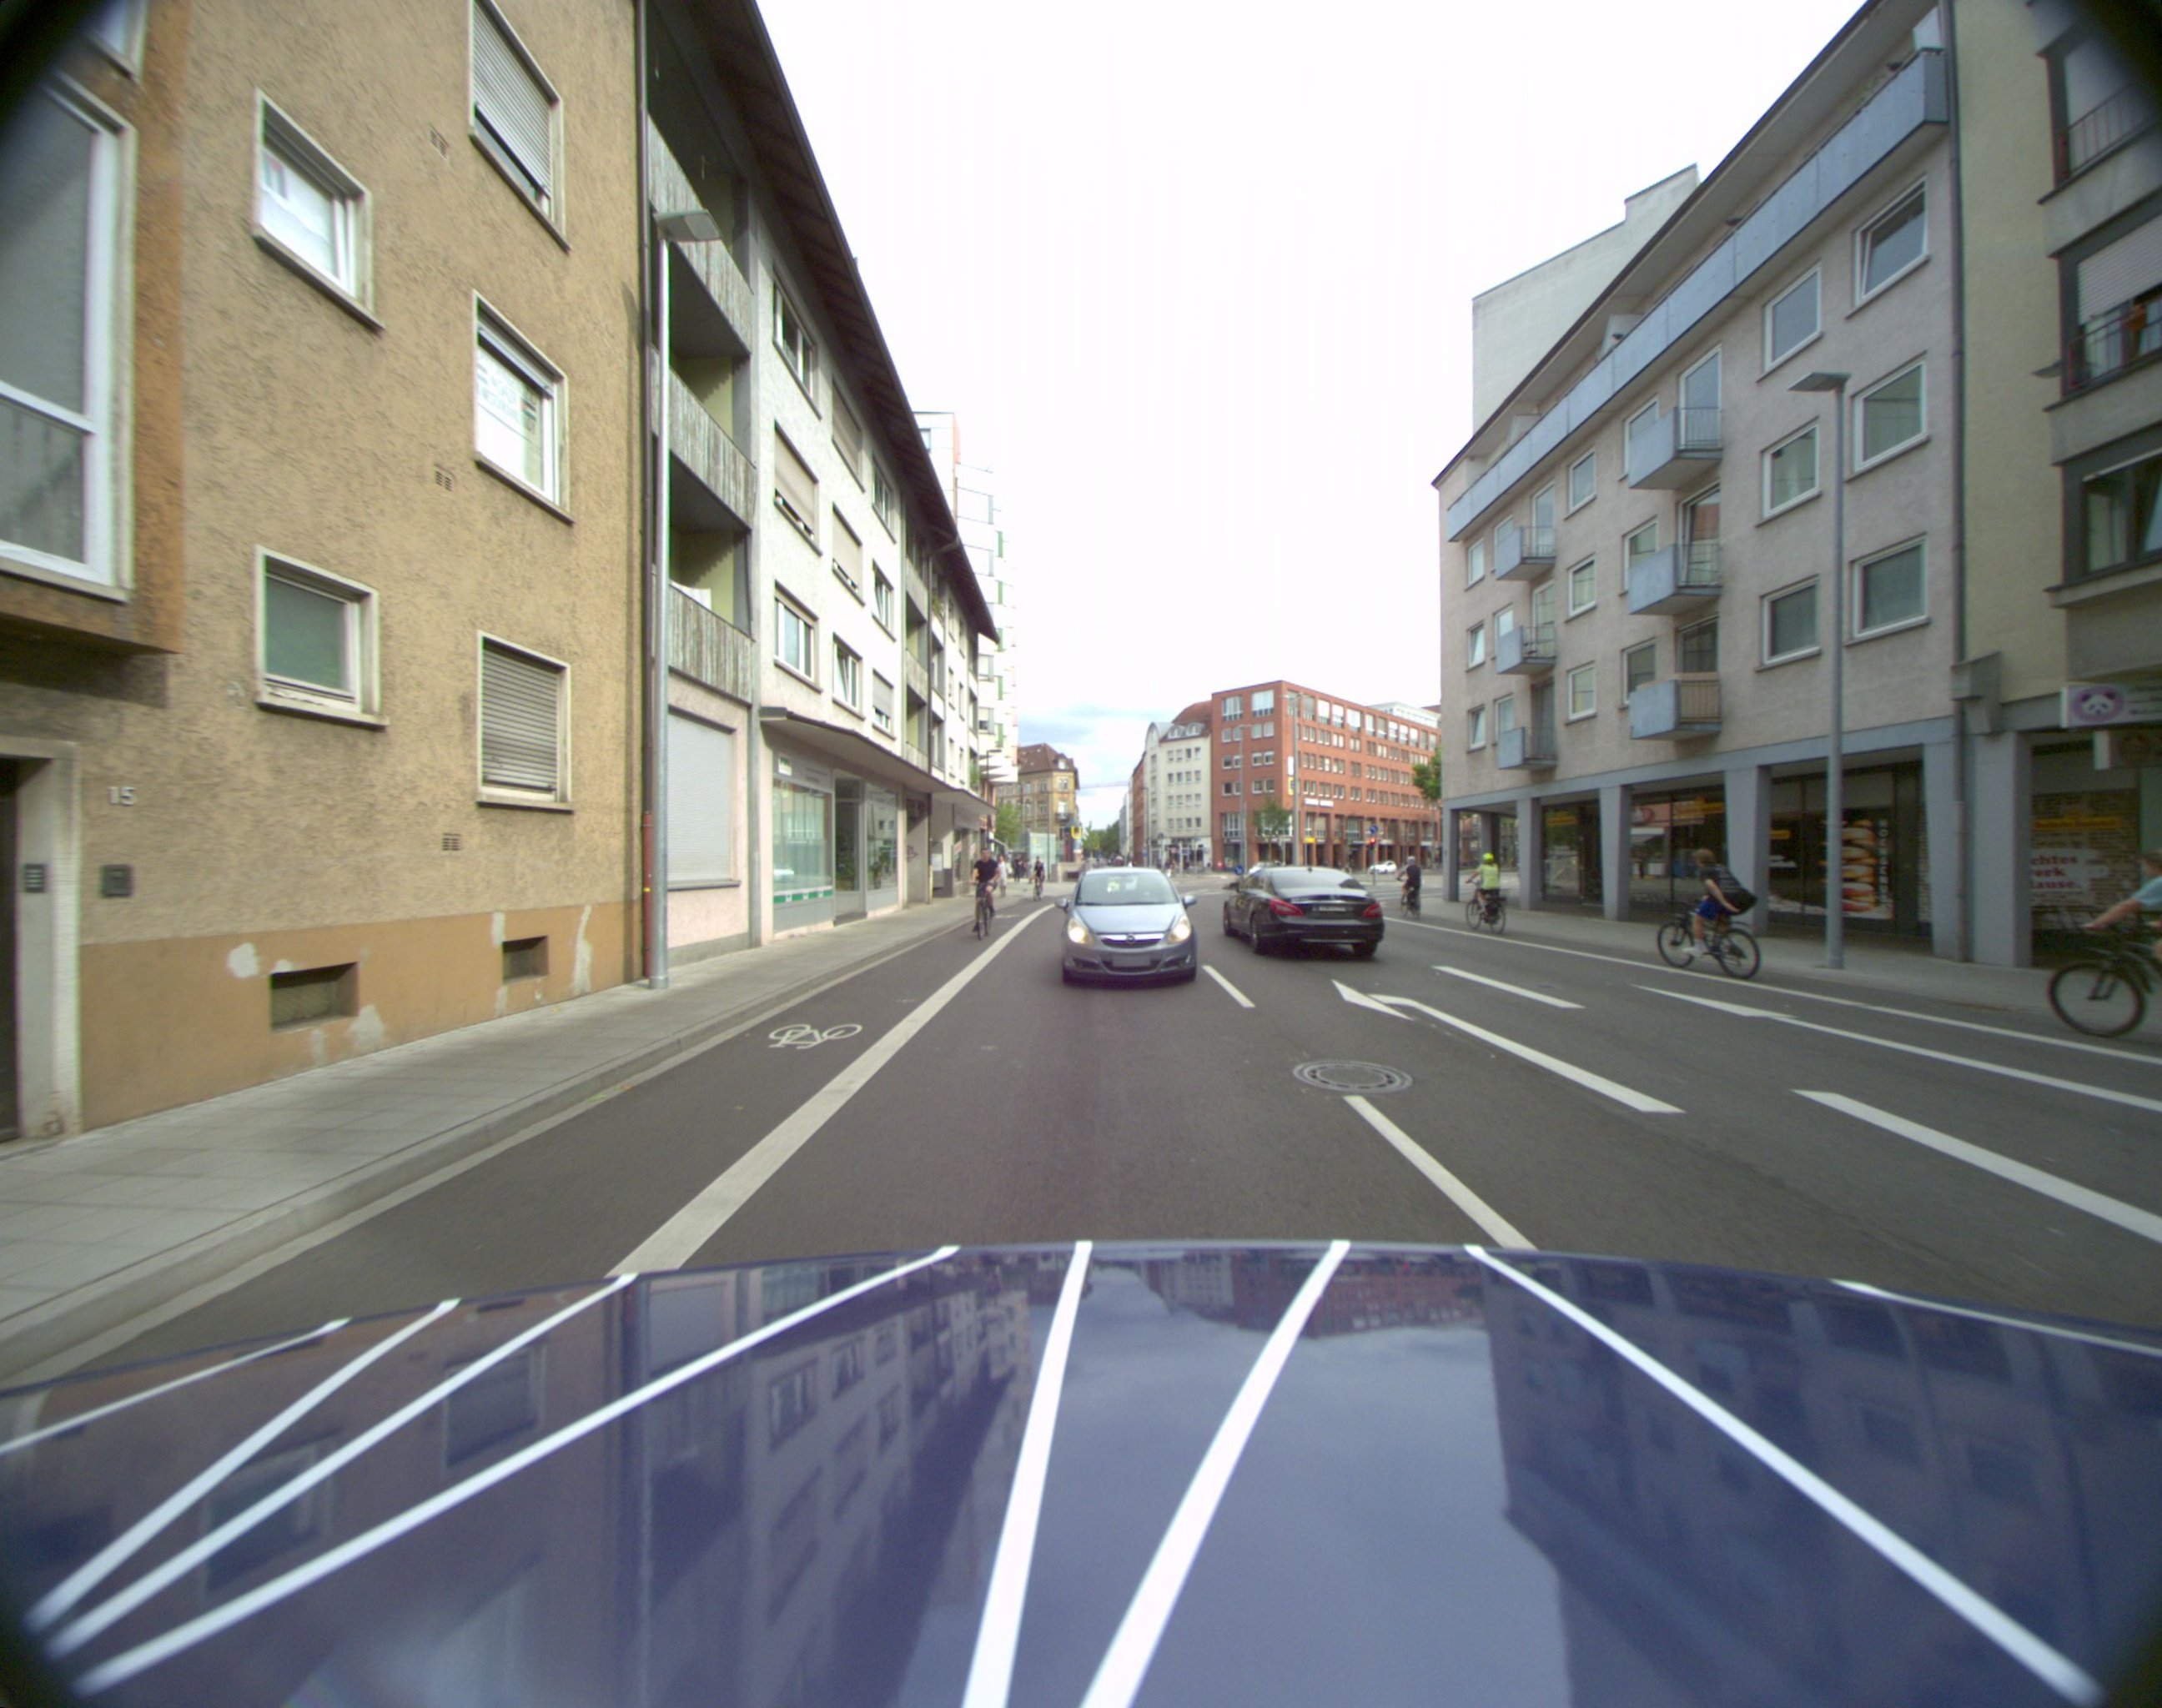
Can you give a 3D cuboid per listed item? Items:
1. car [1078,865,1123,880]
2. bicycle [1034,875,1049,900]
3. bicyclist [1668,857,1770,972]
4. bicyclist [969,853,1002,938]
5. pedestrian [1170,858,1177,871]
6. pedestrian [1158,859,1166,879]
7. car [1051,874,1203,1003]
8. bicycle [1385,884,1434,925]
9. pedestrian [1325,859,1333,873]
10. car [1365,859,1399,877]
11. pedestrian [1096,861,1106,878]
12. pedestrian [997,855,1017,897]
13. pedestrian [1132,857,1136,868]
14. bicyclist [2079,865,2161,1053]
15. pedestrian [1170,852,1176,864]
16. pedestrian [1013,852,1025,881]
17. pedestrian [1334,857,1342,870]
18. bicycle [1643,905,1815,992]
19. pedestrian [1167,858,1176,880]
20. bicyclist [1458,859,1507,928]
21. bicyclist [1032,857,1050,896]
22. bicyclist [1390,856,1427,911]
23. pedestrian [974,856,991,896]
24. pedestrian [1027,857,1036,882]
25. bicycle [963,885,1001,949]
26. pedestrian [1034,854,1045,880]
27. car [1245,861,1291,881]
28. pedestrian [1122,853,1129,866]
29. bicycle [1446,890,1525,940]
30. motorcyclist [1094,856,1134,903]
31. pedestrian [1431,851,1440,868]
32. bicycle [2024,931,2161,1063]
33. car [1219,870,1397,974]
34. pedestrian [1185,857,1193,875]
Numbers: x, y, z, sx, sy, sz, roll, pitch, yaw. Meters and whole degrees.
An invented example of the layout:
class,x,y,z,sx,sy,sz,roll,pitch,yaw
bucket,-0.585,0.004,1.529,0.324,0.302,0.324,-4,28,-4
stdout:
class,x,y,z,sx,sy,sz,roll,pitch,yaw
car,2.033,1.921,79.579,2.004,1.503,4.590,-2,1,-44
bicycle,-1.682,1.422,32.273,0.489,0.994,1.748,-1,-1,1
bicyclist,8.842,0.819,10.564,0.658,1.516,0.857,-2,-1,5
bicyclist,-1.948,0.831,15.593,0.560,1.699,0.862,0,0,0
pedestrian,11.842,1.387,96.895,0.707,1.638,0.721,0,-1,-7
pedestrian,7.351,1.376,69.035,0.675,1.789,0.887,2,0,7
car,0.609,1.010,10.672,1.723,1.394,4.001,0,0,2
bicycle,9.372,1.420,21.752,0.739,1.001,1.909,-1,2,5
pedestrian,29.325,1.450,89.786,0.601,1.677,0.639,0,0,-45
car,33.499,1.516,84.522,4.008,1.867,1.994,-1,0,-42
pedestrian,1.888,1.470,72.811,0.708,1.685,0.633,0,0,-45
pedestrian,-3.128,0.920,32.203,0.753,1.740,0.859,0,0,1
pedestrian,8.290,1.340,117.887,0.540,1.712,0.520,0,1,12
bicyclist,9.077,0.846,6.101,0.658,1.516,1.077,-2,-1,5
pedestrian,11.548,0.452,95.090,0.593,1.502,0.629,0,-1,-7
pedestrian,-4.127,0.842,50.980,0.673,1.892,0.590,2,0,1
pedestrian,32.078,1.170,94.776,0.645,1.686,0.699,1,2,43
bicycle,8.870,1.258,10.537,0.739,1.001,1.977,-2,-2,4
pedestrian,8.228,1.371,68.920,0.720,1.959,1.015,2,0,9
bicyclist,9.201,0.899,17.419,0.658,1.516,0.841,-2,-1,5
bicyclist,-1.692,0.947,32.249,0.613,1.593,0.847,-2,-1,1
bicyclist,9.395,0.839,21.850,0.658,1.516,1.002,-2,1,5
pedestrian,-4.202,0.927,32.334,0.606,1.659,0.944,0,0,-1
pedestrian,-3.289,1.054,50.812,0.473,1.663,0.590,2,0,2
bicycle,-1.976,1.231,15.359,0.407,1.115,2.017,-2,0,1
pedestrian,-3.062,0.968,56.074,0.657,1.841,0.971,3,1,4
car,15.759,1.371,64.048,4.008,1.592,1.953,0,0,-44
pedestrian,5.898,0.731,101.375,0.606,1.675,0.732,-4,1,-21
bicycle,9.136,1.359,17.279,0.739,1.001,2.253,-2,-2,5
motorcyclist,1.087,0.814,24.751,0.870,1.507,1.046,0,0,35
pedestrian,40.371,0.618,86.494,0.808,1.864,0.692,0,0,-44
bicycle,9.323,1.215,6.132,0.739,1.001,2.196,-2,-2,4
car,3.643,1.016,13.099,1.815,1.399,4.609,0,0,2
pedestrian,11.024,1.239,77.548,0.567,1.813,0.697,0,-1,45
